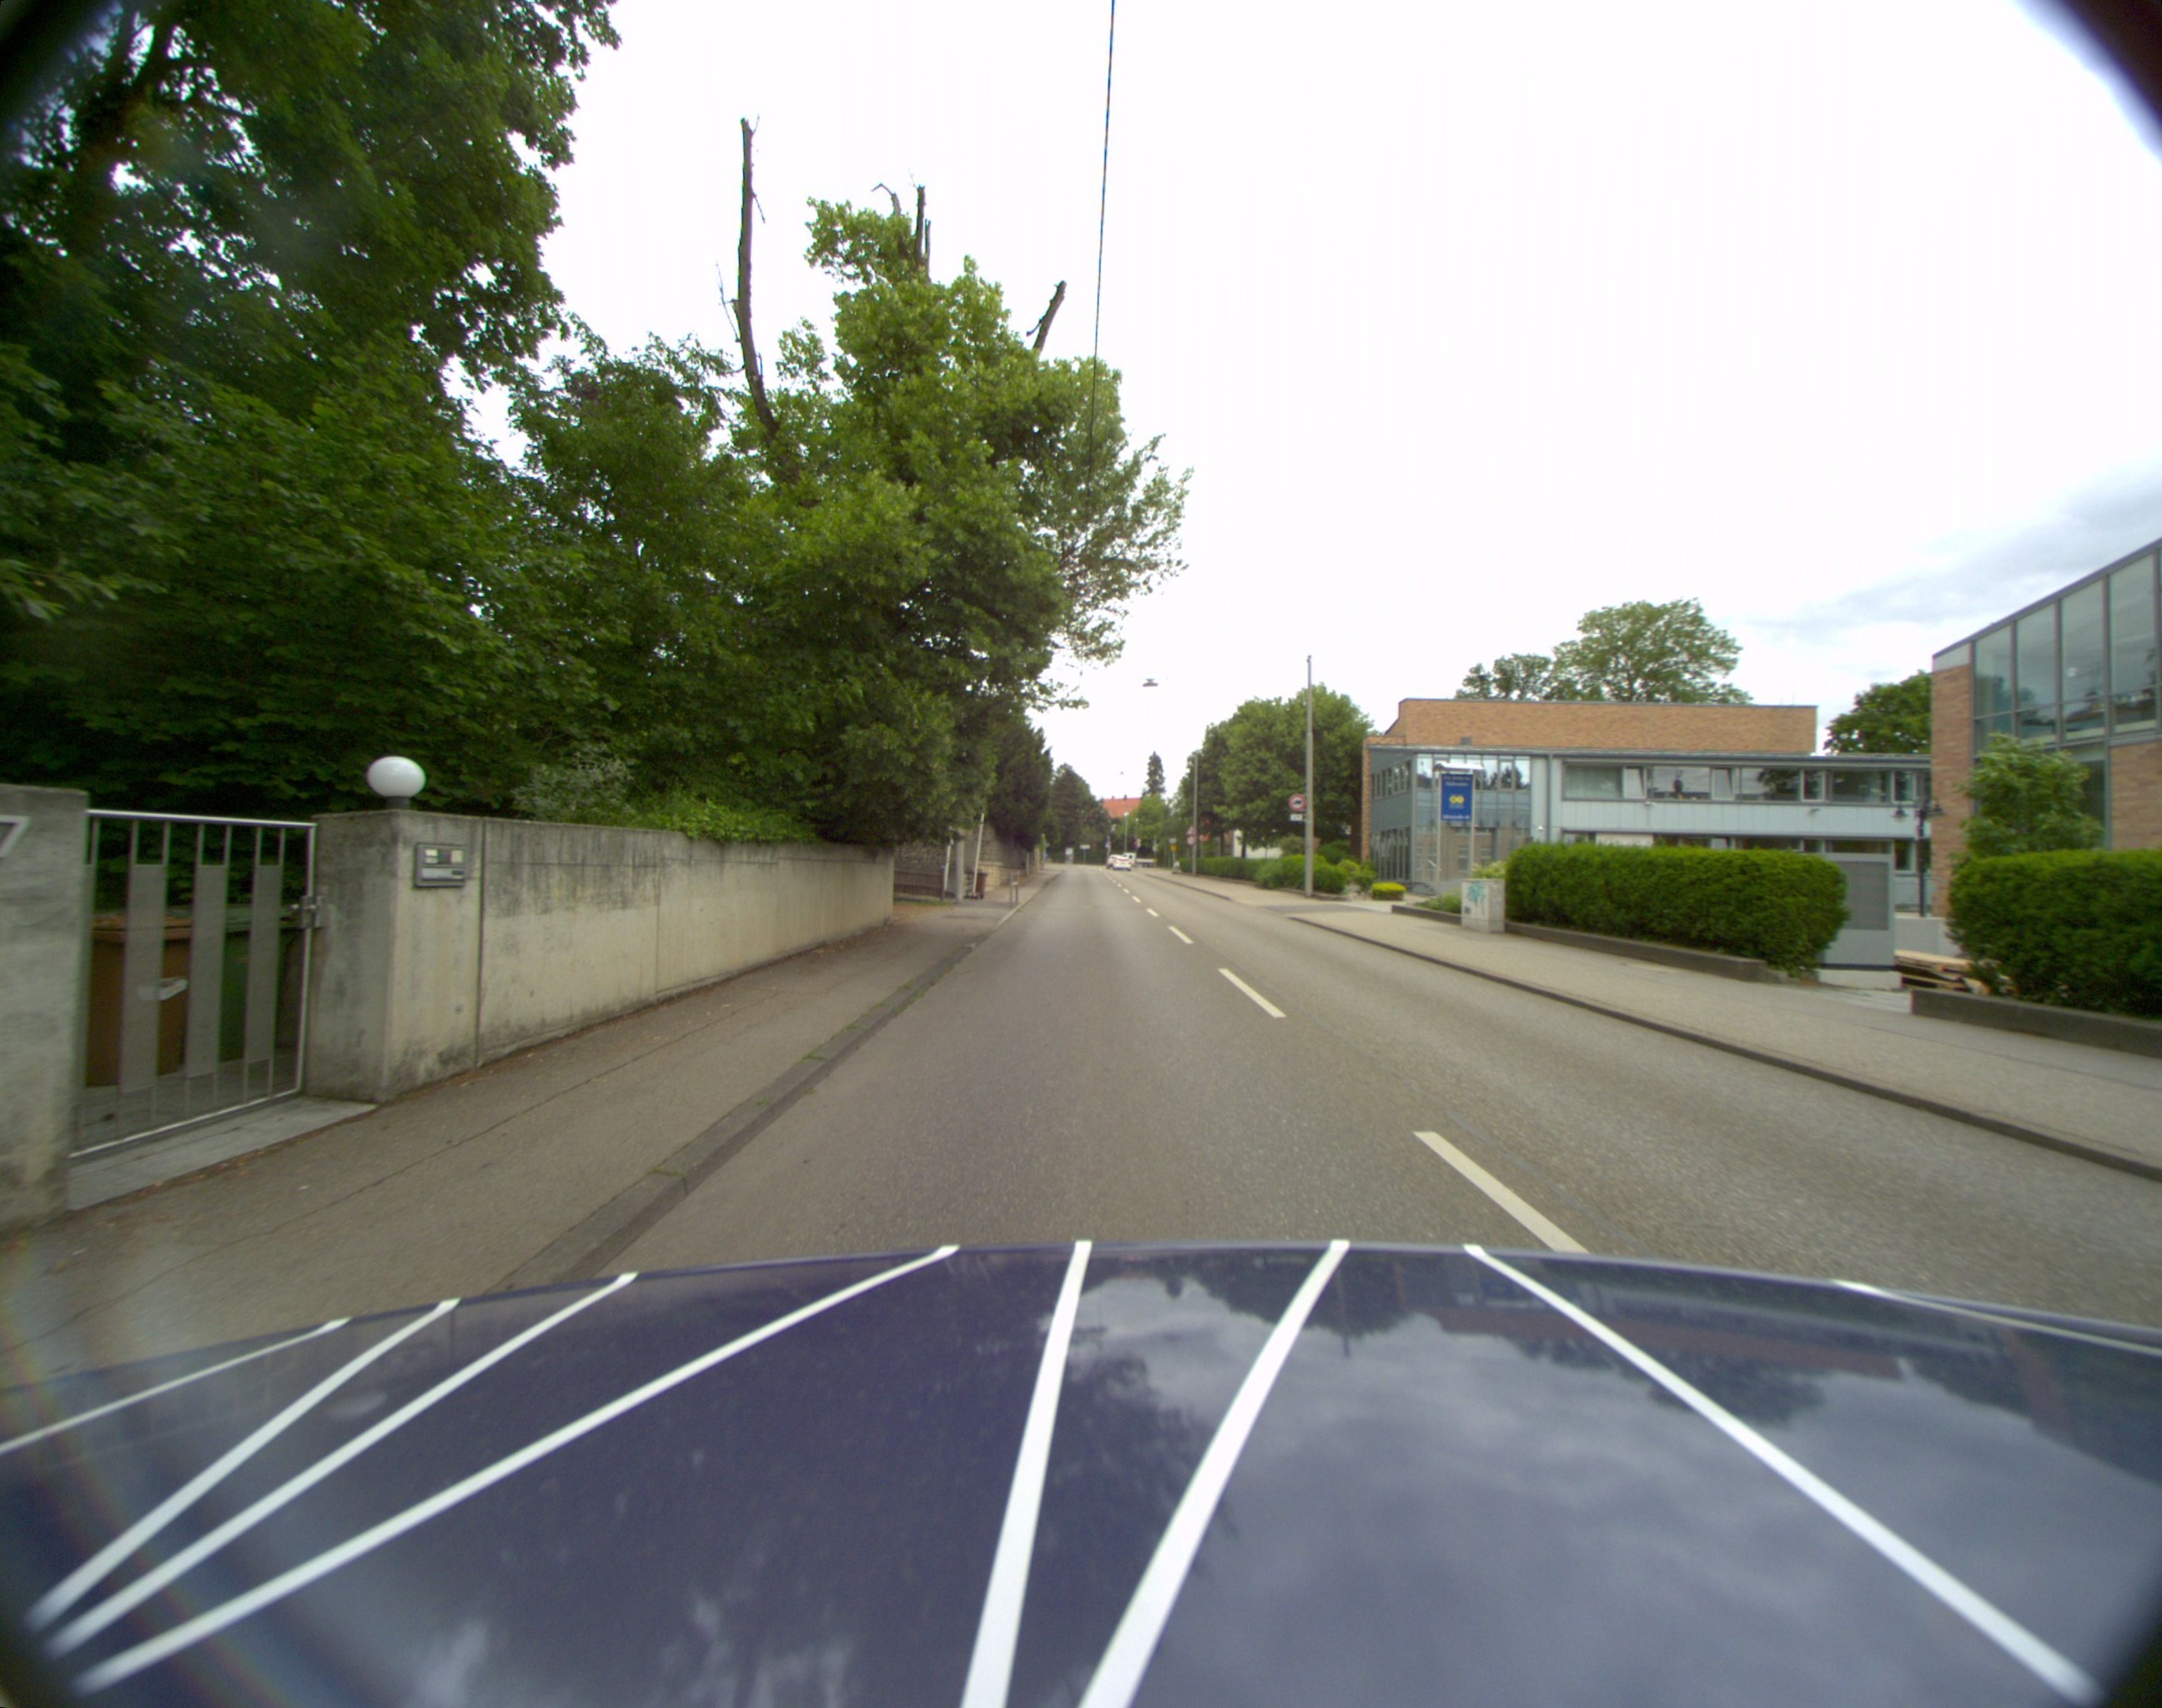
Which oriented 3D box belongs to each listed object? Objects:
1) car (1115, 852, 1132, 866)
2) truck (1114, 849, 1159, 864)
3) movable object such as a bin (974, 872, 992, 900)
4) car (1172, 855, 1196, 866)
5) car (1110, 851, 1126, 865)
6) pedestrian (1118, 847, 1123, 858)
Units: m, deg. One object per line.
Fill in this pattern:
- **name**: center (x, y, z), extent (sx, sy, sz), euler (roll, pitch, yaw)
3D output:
- **car**: center (4.523, 0.547, 81.068), extent (1.770, 1.413, 4.066), euler (0, 0, 2)
- **truck**: center (8.744, 0.370, 119.600), extent (6.706, 2.176, 2.532), euler (2, 1, 11)
- **movable object such as a bin**: center (-3.308, 1.068, 25.592), extent (0.446, 0.904, 0.395), euler (3, -1, 10)
- **car**: center (16.630, 1.010, 122.078), extent (1.994, 1.603, 4.009), euler (3, 0, 38)
- **car**: center (4.267, 0.460, 88.093), extent (1.773, 1.628, 4.302), euler (0, 0, 0)
- **pedestrian**: center (6.340, -0.221, 122.057), extent (0.665, 1.777, 0.613), euler (3, 0, 13)
